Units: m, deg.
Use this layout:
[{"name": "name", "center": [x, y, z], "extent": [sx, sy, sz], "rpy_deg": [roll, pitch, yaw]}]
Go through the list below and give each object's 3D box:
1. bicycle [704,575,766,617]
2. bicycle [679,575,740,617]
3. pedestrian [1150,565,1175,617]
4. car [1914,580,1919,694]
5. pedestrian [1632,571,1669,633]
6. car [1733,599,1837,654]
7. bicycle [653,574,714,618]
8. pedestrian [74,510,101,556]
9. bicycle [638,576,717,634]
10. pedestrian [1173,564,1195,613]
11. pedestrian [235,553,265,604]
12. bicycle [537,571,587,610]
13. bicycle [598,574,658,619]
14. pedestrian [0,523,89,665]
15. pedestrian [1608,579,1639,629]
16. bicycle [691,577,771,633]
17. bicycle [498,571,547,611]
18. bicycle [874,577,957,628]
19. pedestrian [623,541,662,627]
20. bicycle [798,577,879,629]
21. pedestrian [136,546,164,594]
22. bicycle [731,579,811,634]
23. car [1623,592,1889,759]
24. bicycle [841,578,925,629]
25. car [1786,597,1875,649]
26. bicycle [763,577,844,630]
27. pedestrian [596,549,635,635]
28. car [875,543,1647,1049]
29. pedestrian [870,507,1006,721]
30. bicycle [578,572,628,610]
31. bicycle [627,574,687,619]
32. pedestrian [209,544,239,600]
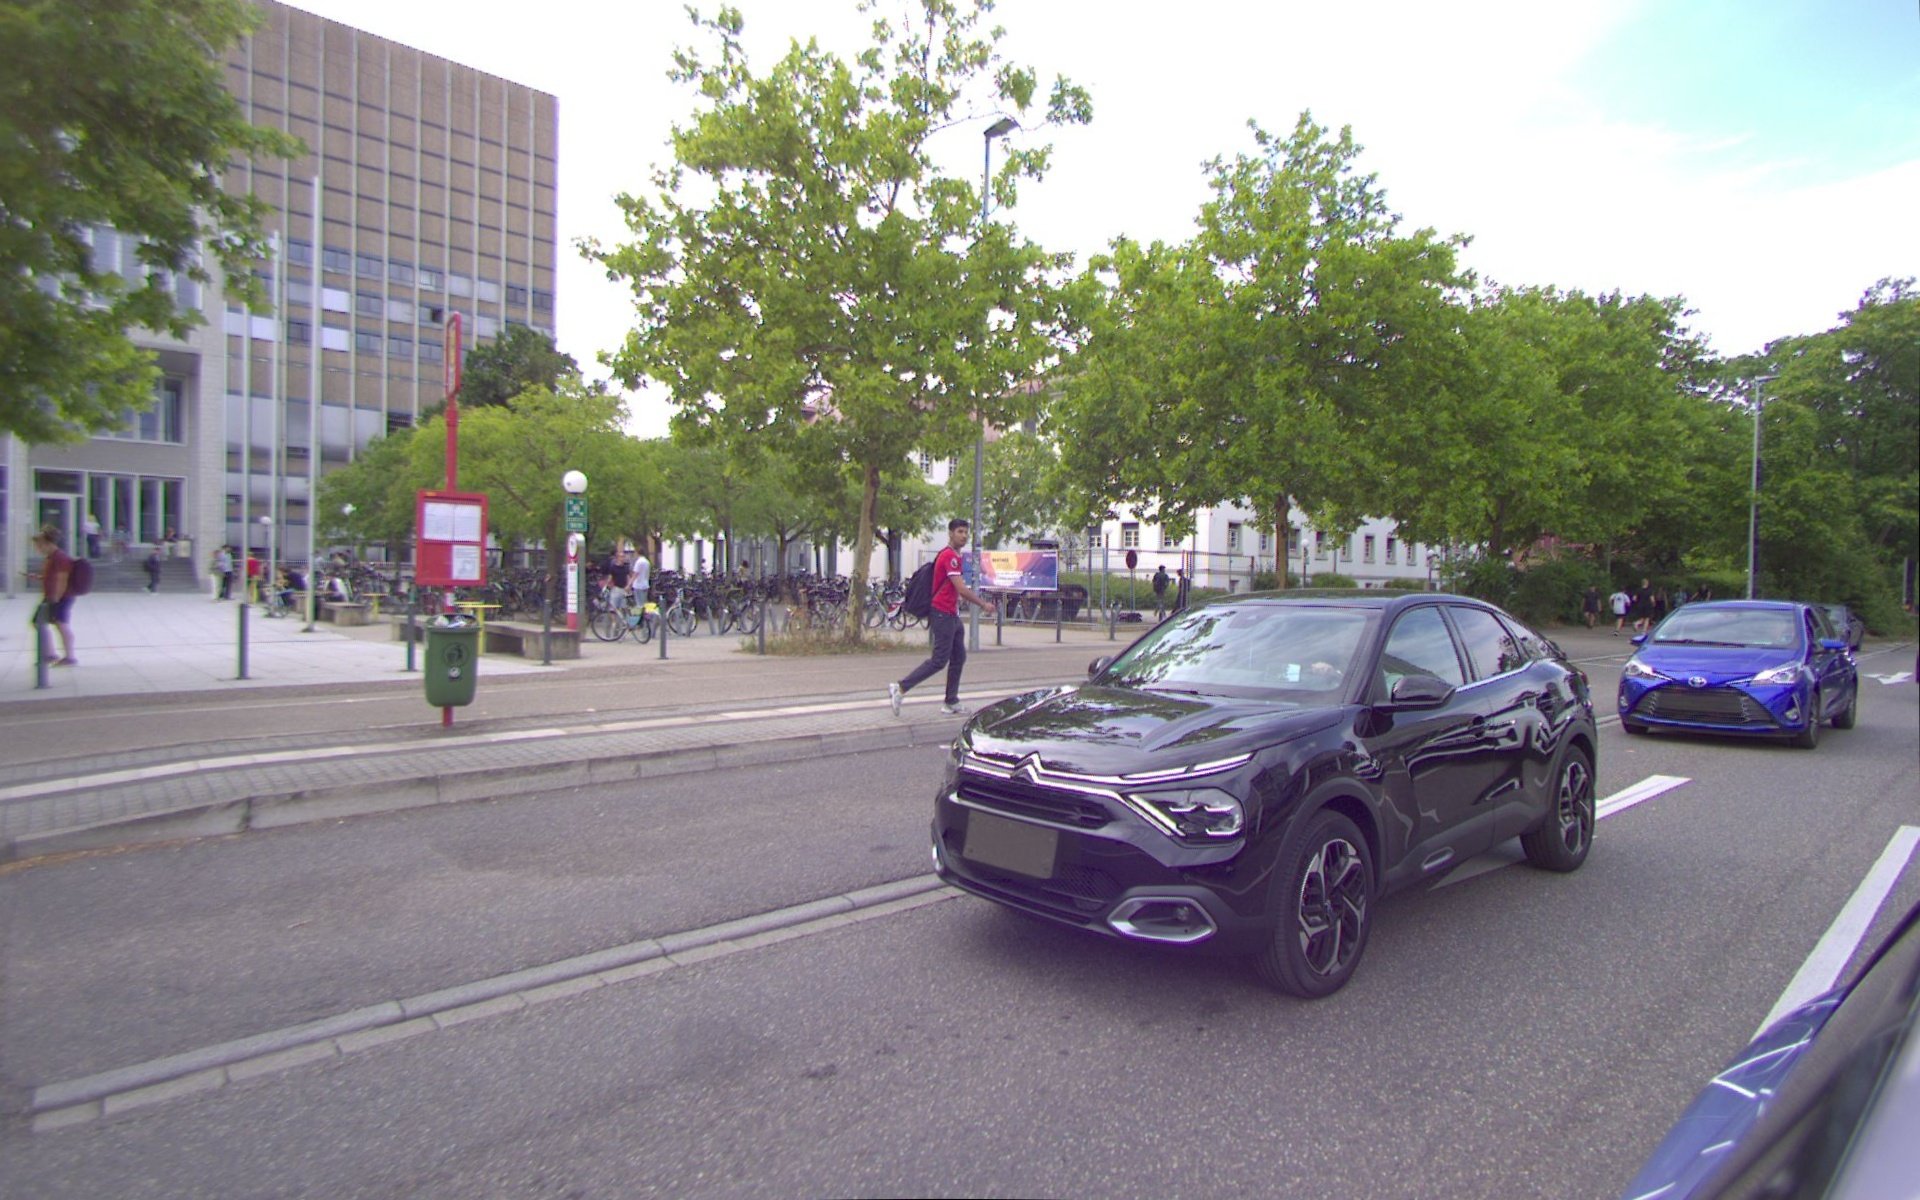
[{"name": "bicycle", "center": [-6.594, -0.142, 29.552], "extent": [0.705, 1.156, 2.471], "rpy_deg": [0, 1, -39]}, {"name": "bicycle", "center": [-7.199, -0.134, 29.033], "extent": [0.705, 1.156, 2.471], "rpy_deg": [0, 1, -39]}, {"name": "pedestrian", "center": [6.926, -0.300, 34.569], "extent": [0.583, 1.760, 0.586], "rpy_deg": [0, 1, -40]}, {"name": "car", "center": [16.485, 0.519, 14.989], "extent": [4.549, 1.669, 1.909], "rpy_deg": [-1, 1, -25]}, {"name": "pedestrian", "center": [22.327, 0.057, 32.730], "extent": [0.747, 1.958, 0.797], "rpy_deg": [0, 1, -42]}, {"name": "car", "center": [23.254, 0.697, 28.484], "extent": [3.766, 1.386, 1.701], "rpy_deg": [0, 2, -42]}, {"name": "bicycle", "center": [-7.818, -0.130, 28.492], "extent": [0.705, 1.156, 2.471], "rpy_deg": [0, 1, -39]}, {"name": "pedestrian", "center": [-33.969, -2.605, 39.392], "extent": [0.619, 1.736, 0.673], "rpy_deg": [0, 0, -23]}, {"name": "bicycle", "center": [-6.103, 0.079, 21.770], "extent": [0.705, 1.156, 2.471], "rpy_deg": [0, 1, -39]}, {"name": "pedestrian", "center": [8.215, -0.434, 37.142], "extent": [0.583, 1.774, 0.531], "rpy_deg": [0, 1, -37]}, {"name": "pedestrian", "center": [-23.022, -0.688, 32.826], "extent": [0.723, 1.617, 0.594], "rpy_deg": [0, 0, 37]}, {"name": "bicycle", "center": [-12.374, -0.304, 31.409], "extent": [0.705, 1.156, 2.471], "rpy_deg": [0, 1, -39]}, {"name": "bicycle", "center": [-9.031, -0.112, 27.468], "extent": [0.705, 1.156, 2.471], "rpy_deg": [0, 1, -39]}, {"name": "pedestrian", "center": [-12.289, -0.087, 13.560], "extent": [0.875, 1.827, 0.769], "rpy_deg": [0, 0, -36]}, {"name": "pedestrian", "center": [21.807, 0.127, 33.256], "extent": [0.791, 1.584, 0.645], "rpy_deg": [0, 1, -43]}, {"name": "bicycle", "center": [-5.132, 0.080, 22.591], "extent": [0.705, 1.156, 2.471], "rpy_deg": [0, 1, -39]}, {"name": "bicycle", "center": [-13.265, -0.293, 30.640], "extent": [0.705, 1.156, 2.471], "rpy_deg": [0, 1, -39]}, {"name": "bicycle", "center": [-1.133, 0.038, 24.916], "extent": [0.705, 1.156, 2.471], "rpy_deg": [0, 1, -39]}, {"name": "pedestrian", "center": [-7.432, -0.372, 23.719], "extent": [0.675, 1.988, 0.601], "rpy_deg": [0, 0, 10]}, {"name": "bicycle", "center": [-2.928, 0.056, 24.164], "extent": [0.705, 1.156, 2.471], "rpy_deg": [0, 1, -39]}, {"name": "pedestrian", "center": [-28.596, -1.050, 35.729], "extent": [0.590, 1.661, 0.634], "rpy_deg": [0, 0, -17]}, {"name": "bicycle", "center": [-4.335, 0.120, 23.058], "extent": [0.705, 1.156, 2.471], "rpy_deg": [0, 1, -39]}, {"name": "car", "center": [8.957, 0.687, 11.282], "extent": [3.766, 1.512, 1.701], "rpy_deg": [0, 2, -42]}, {"name": "bicycle", "center": [-1.883, 0.060, 24.362], "extent": [0.705, 1.156, 2.471], "rpy_deg": [0, 1, -39]}, {"name": "car", "center": [26.987, 0.663, 31.334], "extent": [3.949, 1.481, 1.604], "rpy_deg": [0, 1, -42]}, {"name": "bicycle", "center": [-3.673, 0.055, 23.591], "extent": [0.705, 1.156, 2.471], "rpy_deg": [0, 1, -39]}, {"name": "pedestrian", "center": [-8.126, -0.185, 23.877], "extent": [0.675, 1.988, 0.601], "rpy_deg": [0, 0, 10]}, {"name": "car", "center": [1.767, 0.610, 5.165], "extent": [4.101, 1.576, 1.803], "rpy_deg": [0, 0, -39]}, {"name": "pedestrian", "center": [-0.198, 0.114, 9.500], "extent": [1.047, 1.876, 0.726], "rpy_deg": [0, 1, -43]}, {"name": "bicycle", "center": [-11.398, -0.317, 32.267], "extent": [0.705, 1.156, 2.471], "rpy_deg": [0, 1, -39]}, {"name": "bicycle", "center": [-8.408, -0.122, 27.998], "extent": [0.705, 1.156, 2.471], "rpy_deg": [0, 1, -39]}, {"name": "pedestrian", "center": [-24.767, -0.932, 34.053], "extent": [0.723, 1.867, 0.595], "rpy_deg": [0, 0, 35]}]
